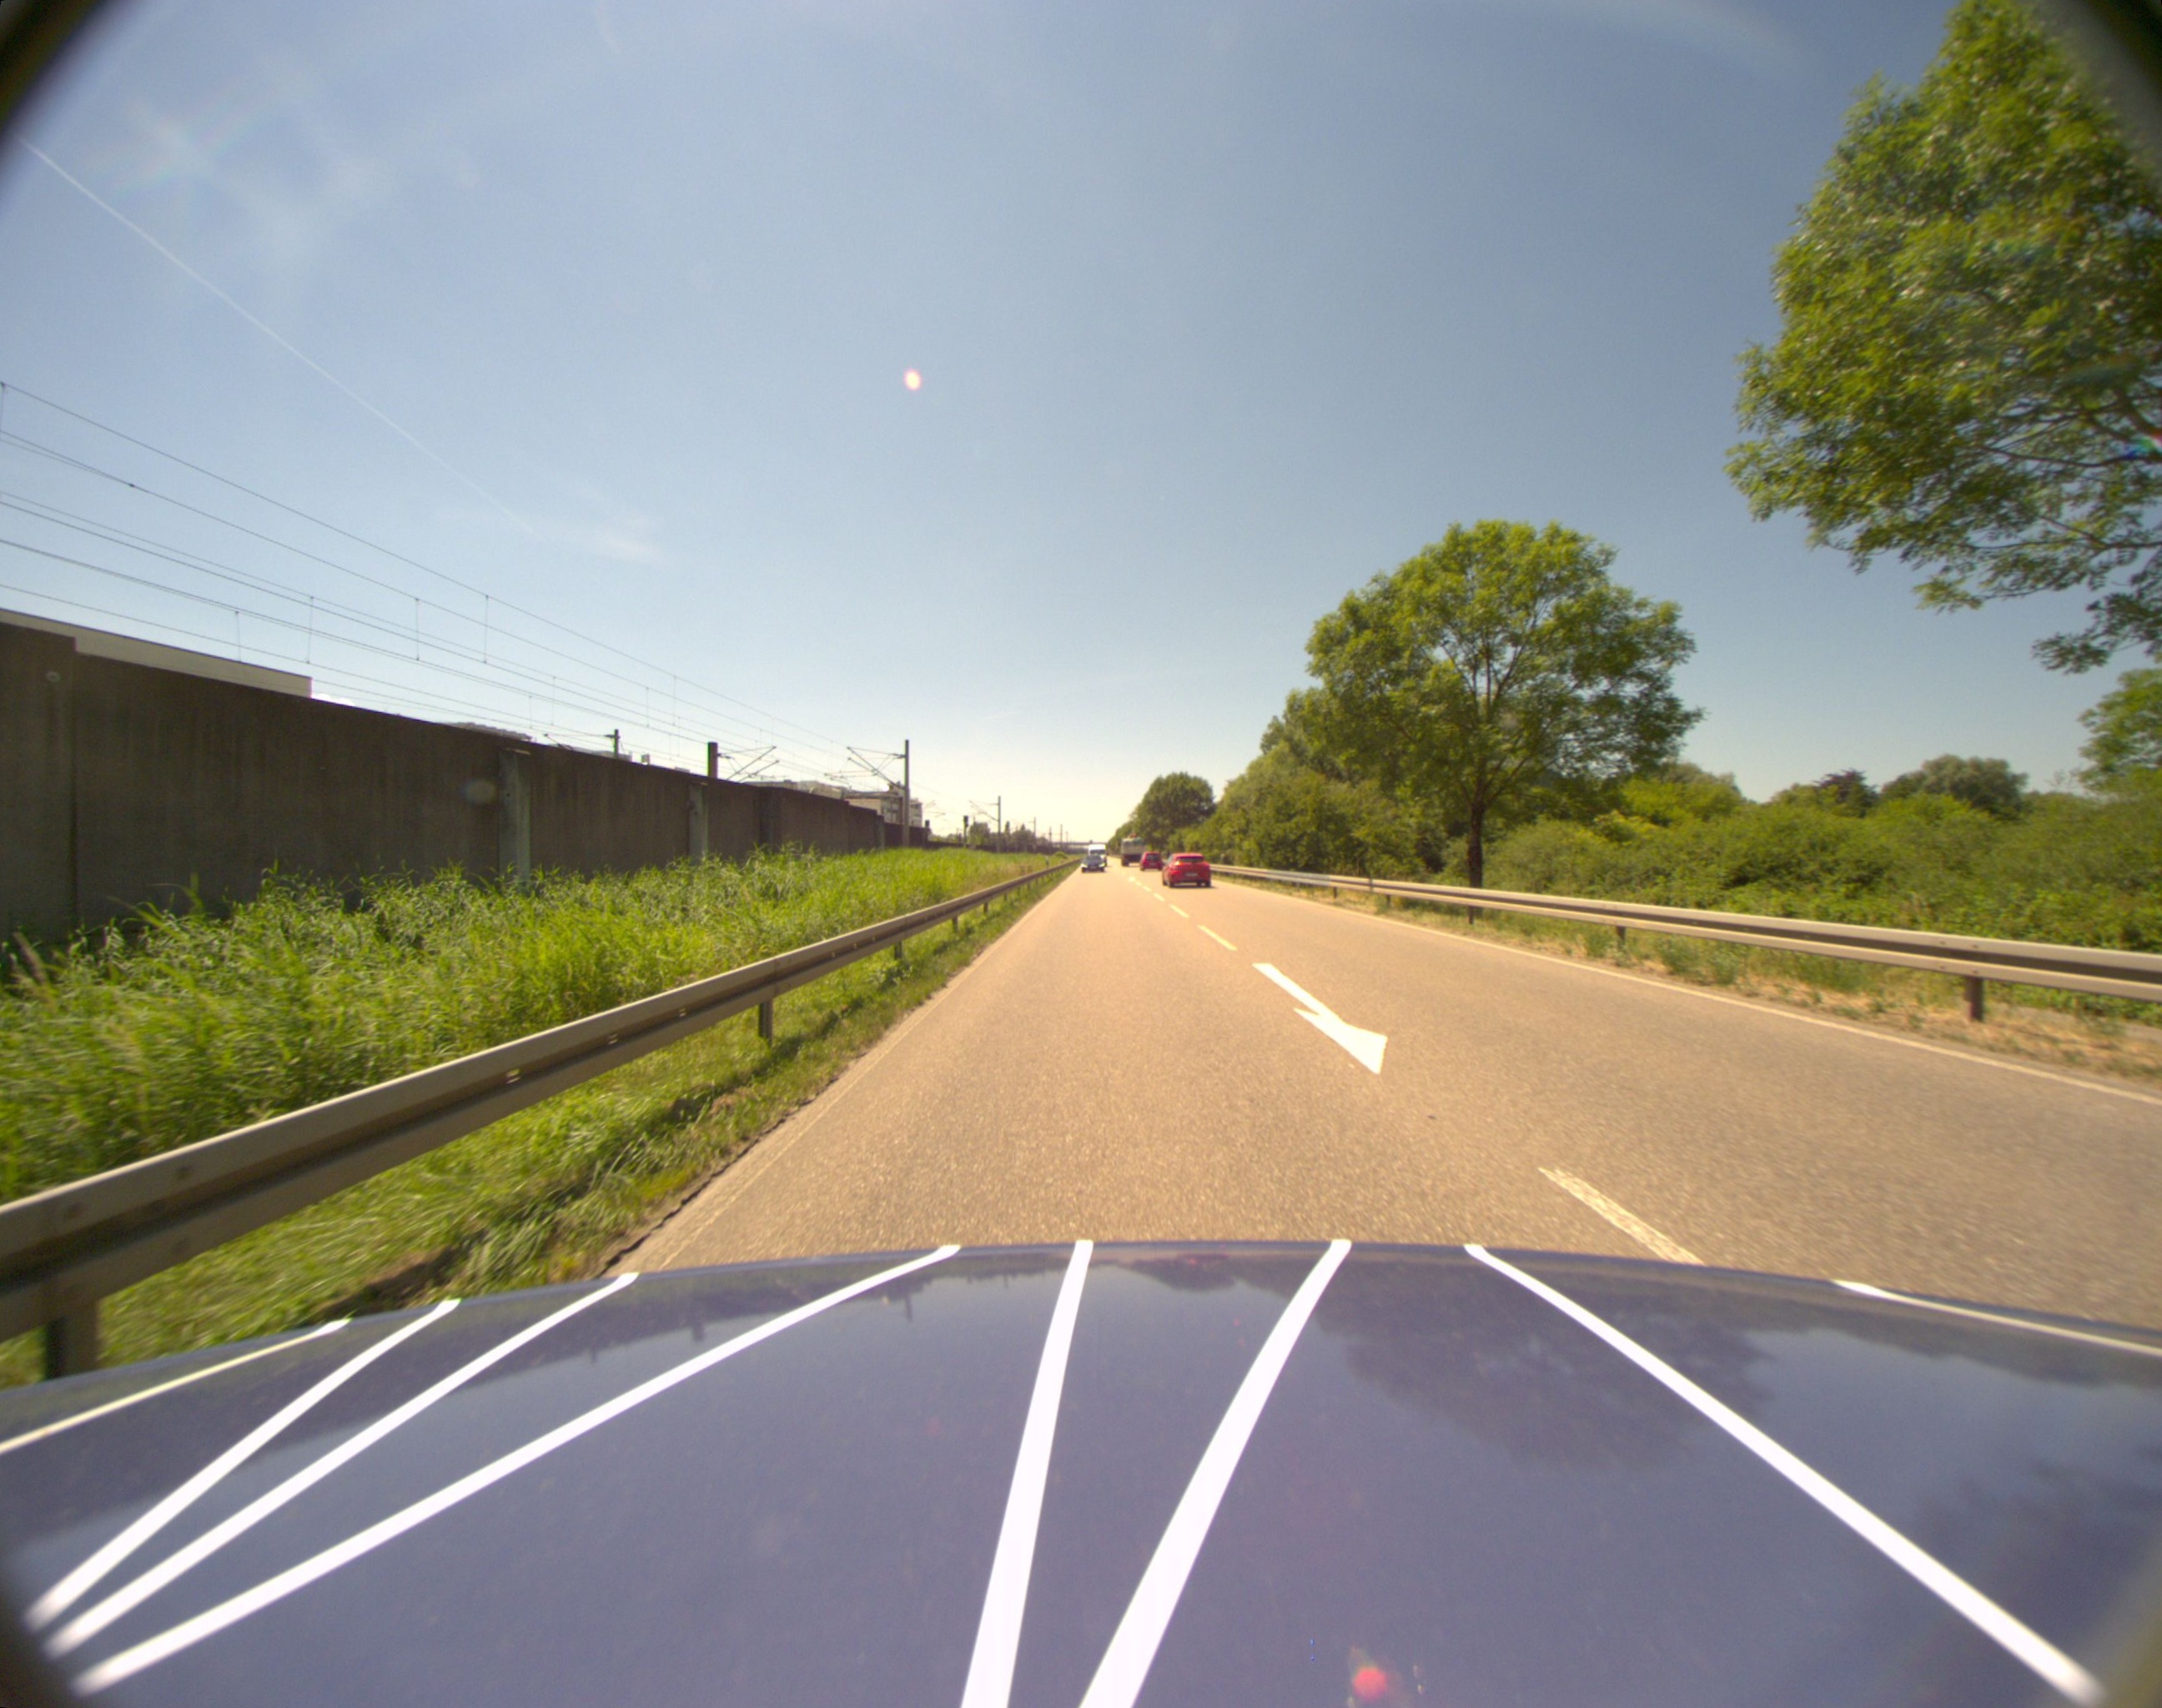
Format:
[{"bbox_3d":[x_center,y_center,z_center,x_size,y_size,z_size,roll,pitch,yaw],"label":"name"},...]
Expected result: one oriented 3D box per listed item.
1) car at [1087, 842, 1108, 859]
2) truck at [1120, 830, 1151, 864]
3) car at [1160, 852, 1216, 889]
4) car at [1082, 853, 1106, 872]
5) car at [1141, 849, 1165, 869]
[{"bbox_3d":[1.855,-0.411,84.201,2.161,1.701,4.493,-2,0,1],"label":"car"},{"bbox_3d":[5.938,-0.741,83.719,2.790,3.385,7.988,-2,0,1],"label":"truck"},{"bbox_3d":[4.529,0.663,32.563,1.794,1.413,3.999,-1,0,0],"label":"car"},{"bbox_3d":[0.997,0.654,59.001,1.758,1.313,4.000,-2,0,1],"label":"car"},{"bbox_3d":[5.804,0.386,61.538,1.657,1.543,4.000,-1,0,1],"label":"car"}]
